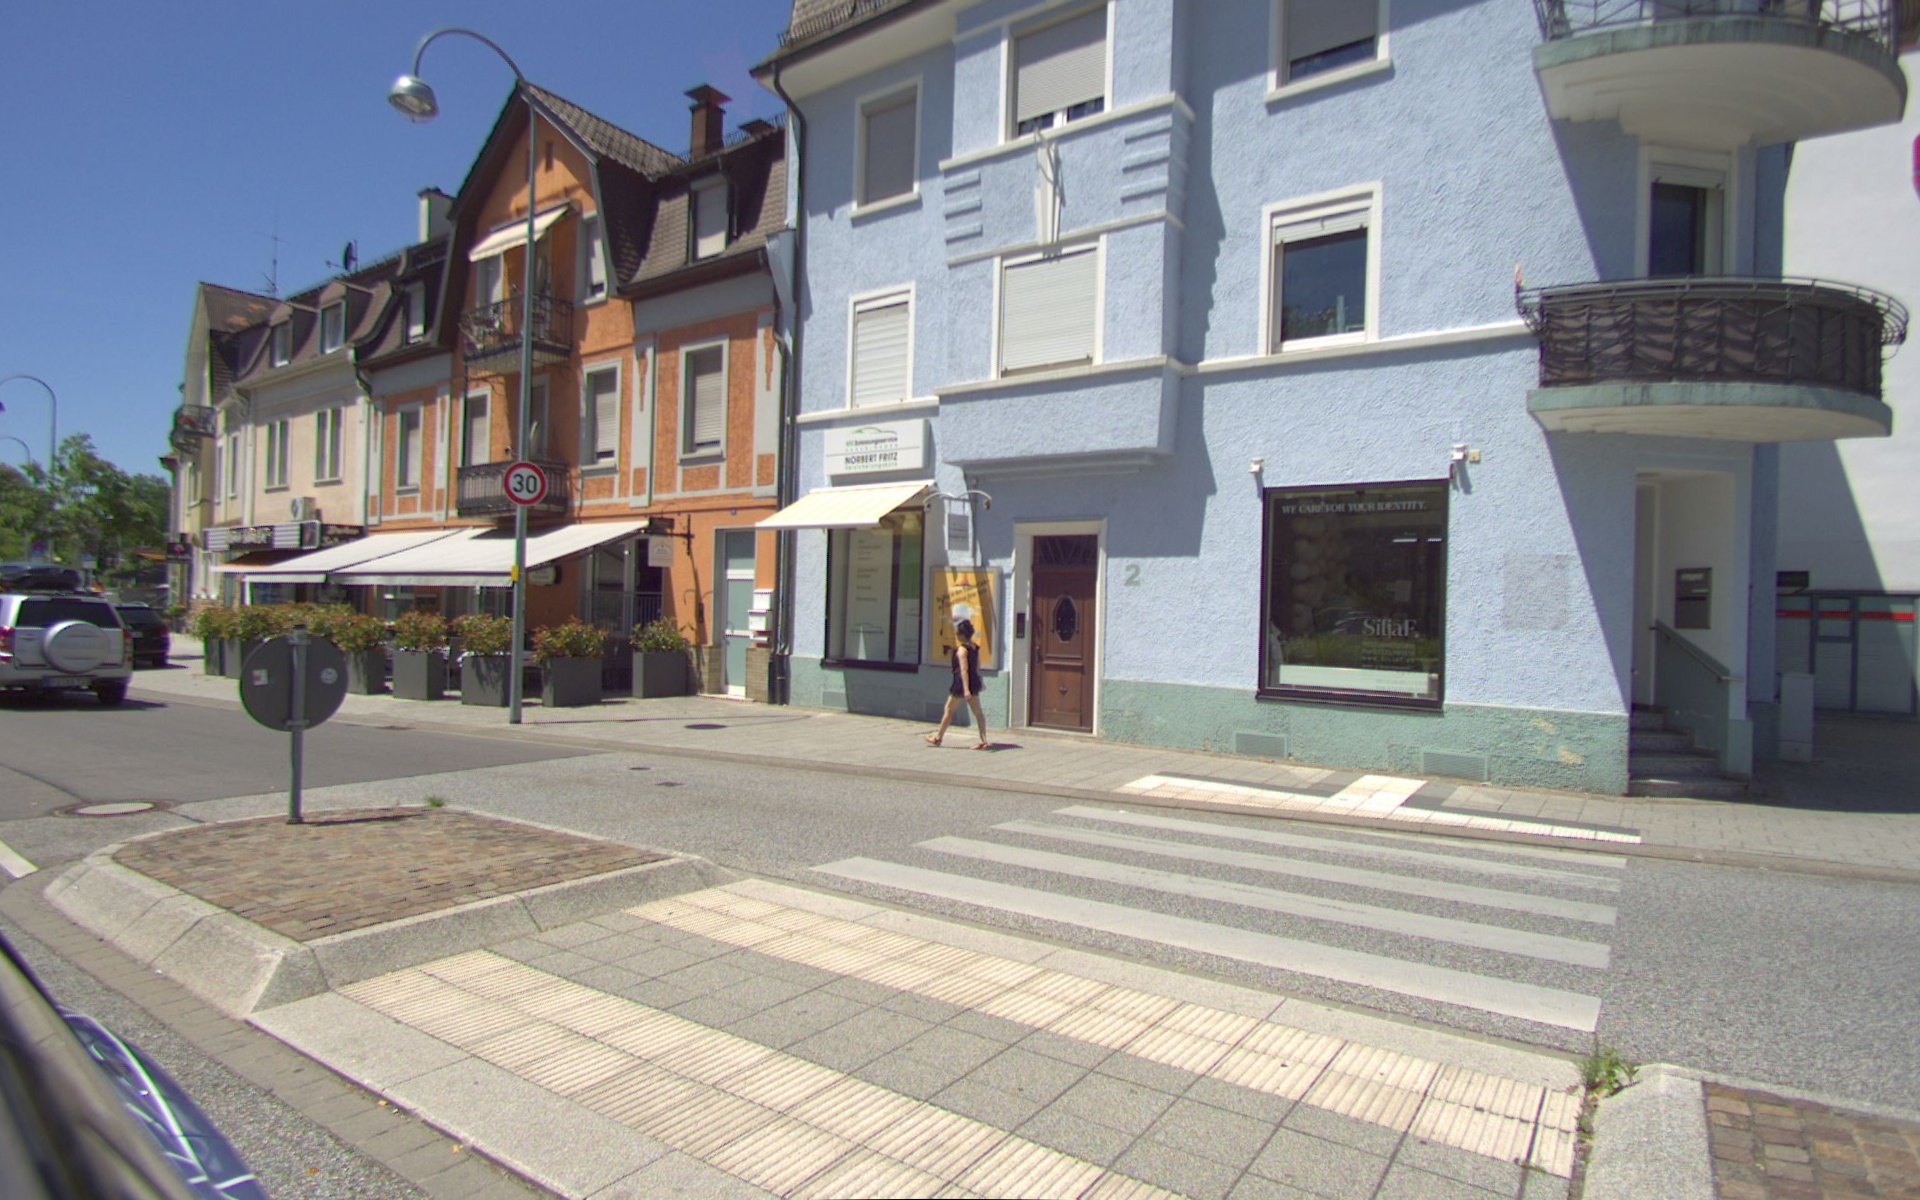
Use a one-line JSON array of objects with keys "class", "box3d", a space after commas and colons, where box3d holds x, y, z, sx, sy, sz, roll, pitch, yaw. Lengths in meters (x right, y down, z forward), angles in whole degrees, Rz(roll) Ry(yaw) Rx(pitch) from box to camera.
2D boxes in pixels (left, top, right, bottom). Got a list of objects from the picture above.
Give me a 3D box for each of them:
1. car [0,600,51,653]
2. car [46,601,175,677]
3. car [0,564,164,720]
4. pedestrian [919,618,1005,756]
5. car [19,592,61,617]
[{"class": "car", "box3d": [-29.928, 0.792, 31.770, 3.592, 1.558, 1.660, 0, 0, 41]}, {"class": "car", "box3d": [-19.430, 0.812, 23.095, 3.944, 1.558, 1.660, 0, 0, 41]}, {"class": "car", "box3d": [-14.501, 0.590, 15.704, 4.436, 2.123, 1.910, 1, -3, 32]}, {"class": "pedestrian", "box3d": [0.024, 0.986, 11.912, 0.801, 1.536, 0.621, 0, 0, 35]}, {"class": "car", "box3d": [-59.591, 0.280, 65.588, 1.656, 1.558, 3.602, 0, 0, -37]}]
